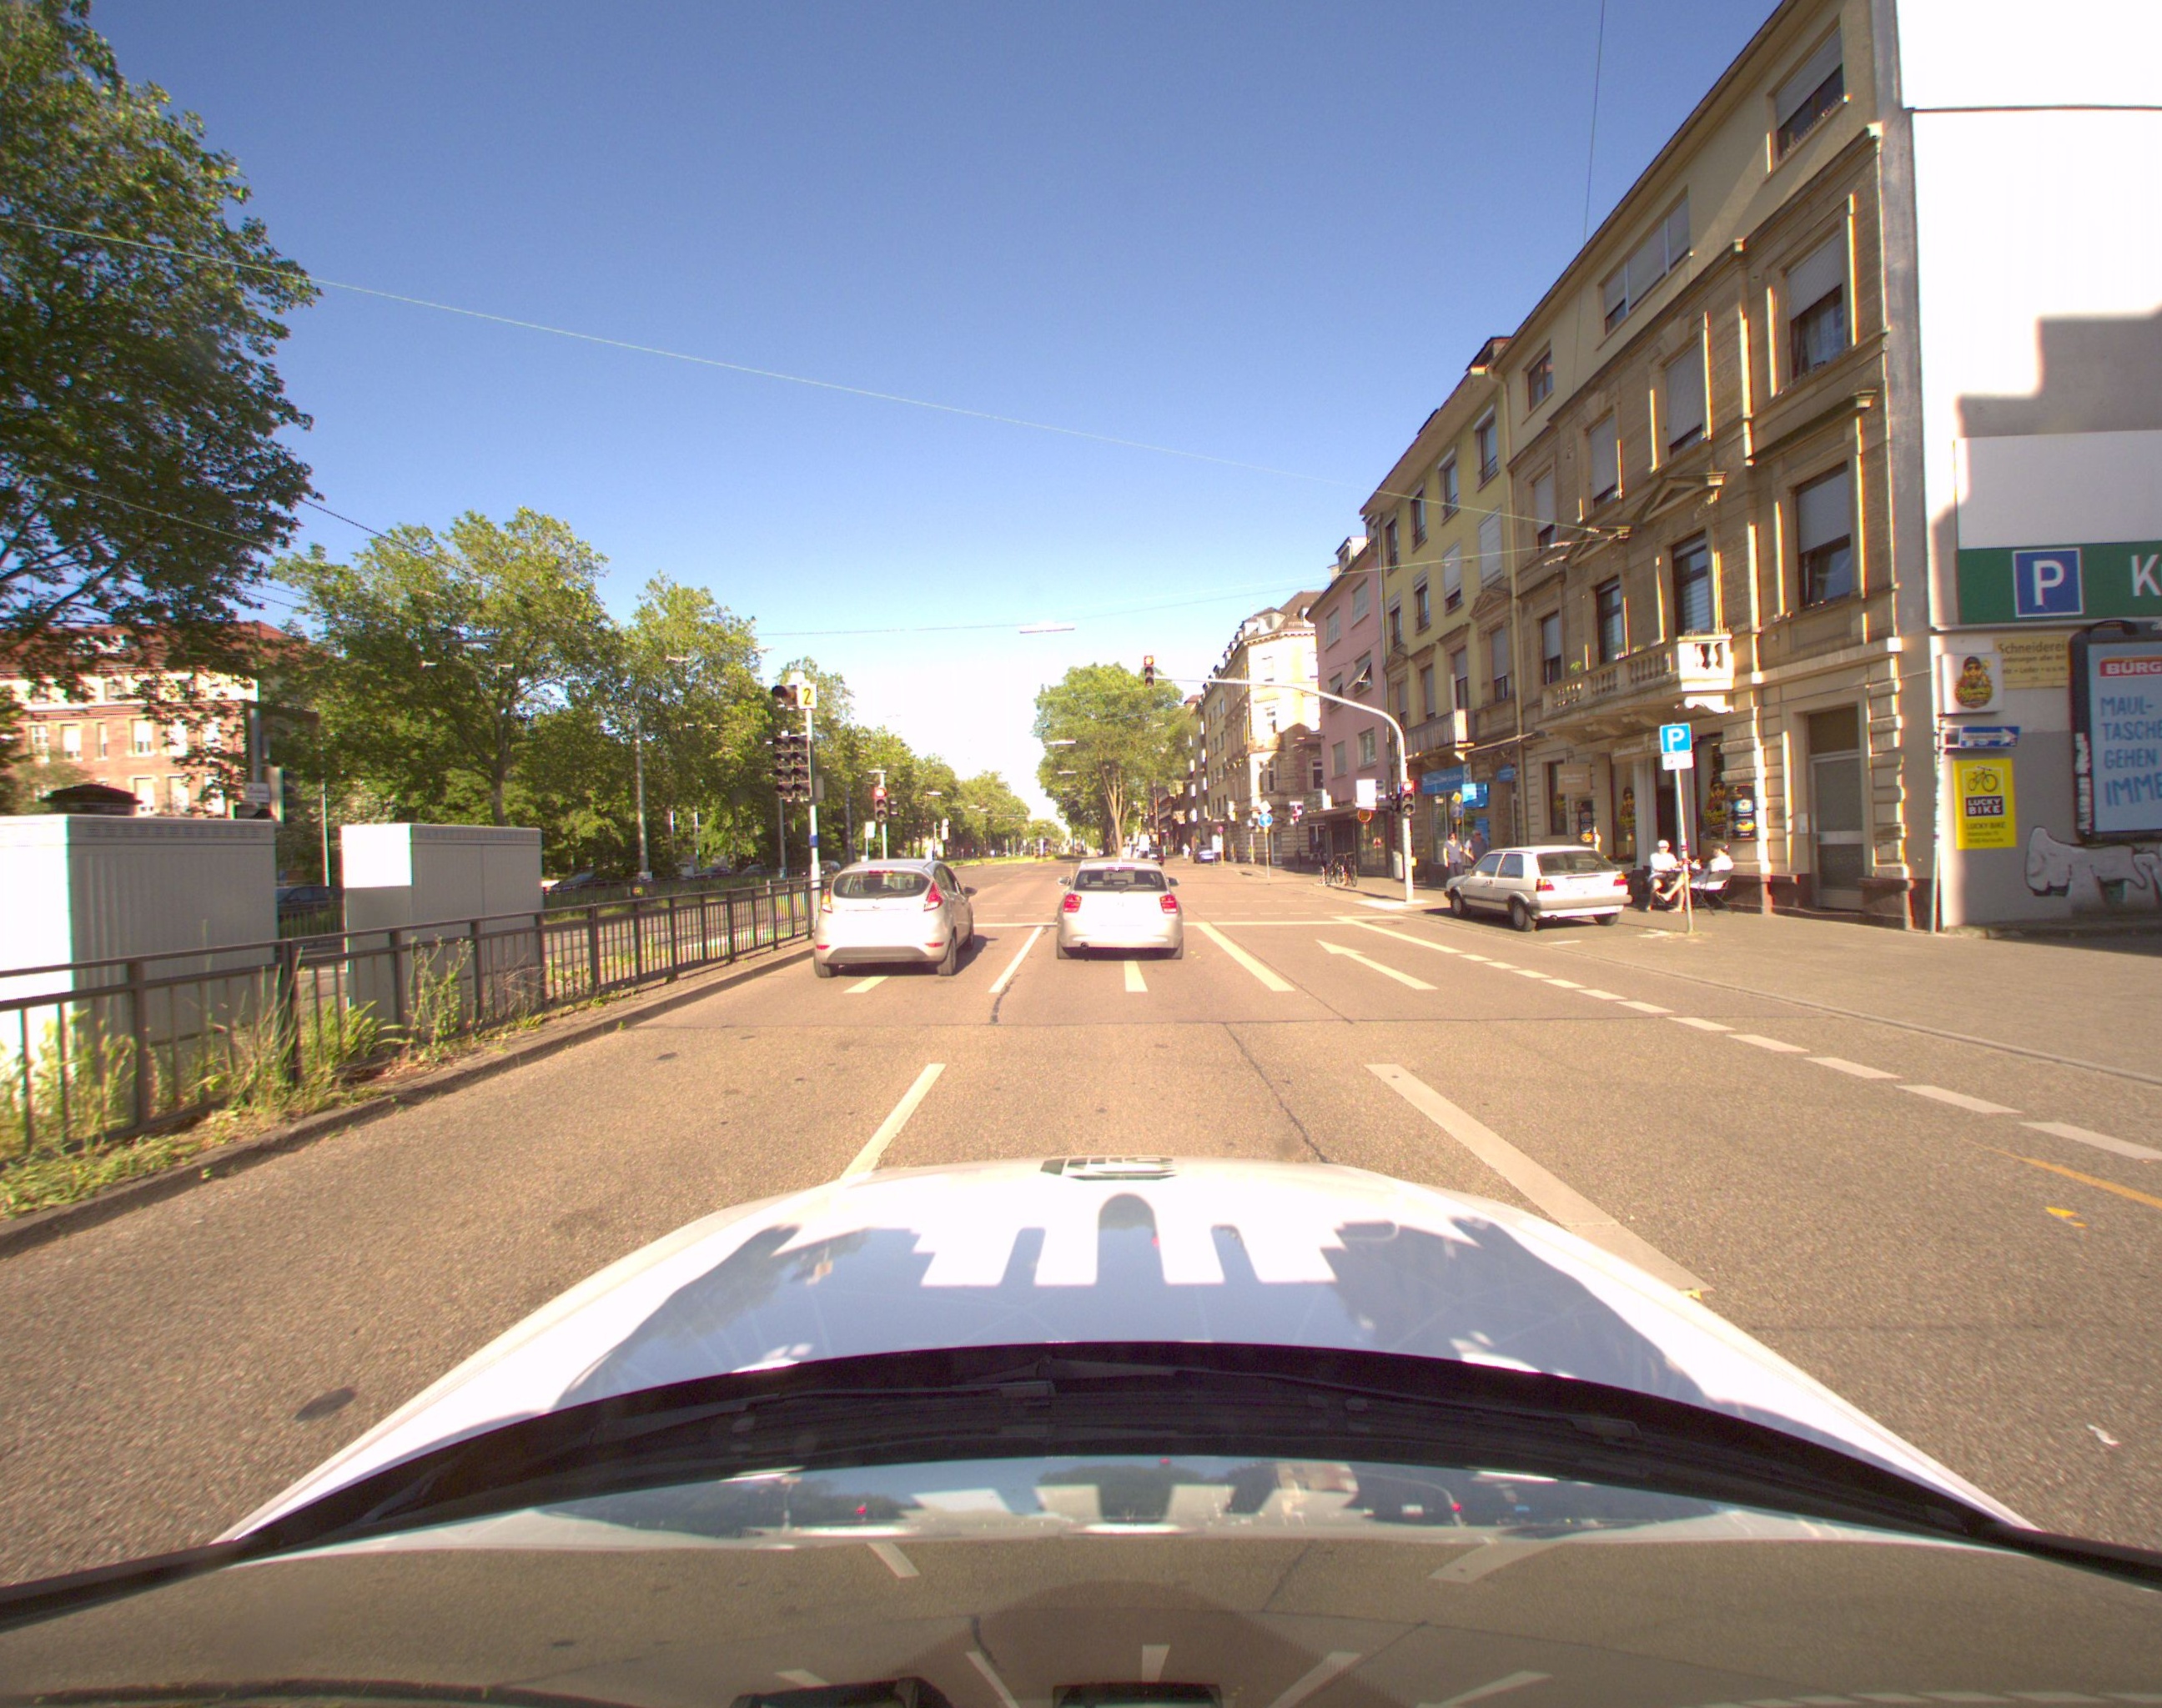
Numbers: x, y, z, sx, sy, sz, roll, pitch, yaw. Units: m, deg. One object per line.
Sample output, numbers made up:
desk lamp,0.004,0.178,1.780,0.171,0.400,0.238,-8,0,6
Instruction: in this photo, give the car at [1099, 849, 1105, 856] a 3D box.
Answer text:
car,6.783,-0.445,260.670,1.986,2.013,4.002,-2,1,2

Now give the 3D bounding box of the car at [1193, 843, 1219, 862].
car,10.558,-0.159,68.902,1.729,1.519,3.637,-1,0,1

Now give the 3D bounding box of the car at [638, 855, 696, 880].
car,-27.549,0.845,54.289,1.664,1.509,4.145,-2,0,0

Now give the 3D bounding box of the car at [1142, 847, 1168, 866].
car,5.719,0.183,63.309,1.730,1.433,3.678,-1,0,0

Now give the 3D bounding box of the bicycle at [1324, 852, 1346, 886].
bicycle,8.836,0.506,28.371,0.411,1.140,1.814,-1,1,8

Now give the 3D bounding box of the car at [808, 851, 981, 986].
car,-2.377,0.729,11.295,1.605,1.467,3.886,-2,1,-3

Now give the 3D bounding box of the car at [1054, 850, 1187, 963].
car,0.581,0.683,12.733,1.733,1.467,4.002,0,0,2

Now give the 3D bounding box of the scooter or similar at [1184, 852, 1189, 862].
scooter or similar,10.606,0.266,81.911,0.335,0.988,1.288,-2,1,10

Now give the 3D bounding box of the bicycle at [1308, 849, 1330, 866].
bicycle,13.670,0.210,46.808,0.646,0.903,1.346,-1,1,43

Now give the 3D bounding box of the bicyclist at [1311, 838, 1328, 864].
bicyclist,13.713,-0.171,46.836,0.541,1.502,0.967,-2,0,43

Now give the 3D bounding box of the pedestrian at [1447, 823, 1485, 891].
pedestrian,10.674,0.088,22.582,0.670,1.806,0.531,-5,0,1

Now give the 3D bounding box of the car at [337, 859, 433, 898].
car,-40.204,1.367,47.191,1.986,2.013,4.002,-2,0,2

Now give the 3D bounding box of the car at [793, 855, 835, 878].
car,-19.371,0.873,59.219,1.679,1.498,4.341,-2,1,-1

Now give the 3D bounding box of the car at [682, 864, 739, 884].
car,-27.291,1.456,60.194,1.929,1.349,4.849,-2,-1,0

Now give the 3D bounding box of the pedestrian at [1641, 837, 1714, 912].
pedestrian,10.890,0.367,14.883,0.795,1.281,0.608,-5,0,-1

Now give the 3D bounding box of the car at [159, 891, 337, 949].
car,-27.949,2.168,27.532,1.664,1.509,4.145,-2,1,0

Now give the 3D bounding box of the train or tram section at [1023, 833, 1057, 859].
train or tram section,-6.659,-1.326,136.022,3.954,3.865,17.497,-2,0,2

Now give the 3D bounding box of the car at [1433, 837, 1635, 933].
car,8.226,0.482,15.233,1.557,1.415,4.006,-5,0,2

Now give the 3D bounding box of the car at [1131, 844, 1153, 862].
car,5.567,-0.106,74.632,1.719,1.507,3.555,-1,0,0

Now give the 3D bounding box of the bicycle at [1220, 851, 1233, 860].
bicycle,12.375,0.130,69.256,0.752,0.770,1.945,-2,0,0

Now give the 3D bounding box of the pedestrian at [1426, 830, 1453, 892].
pedestrian,10.040,0.185,22.808,0.547,1.708,0.389,-2,0,4

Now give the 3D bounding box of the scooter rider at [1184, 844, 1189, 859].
scooter rider,10.592,-0.246,81.848,0.462,1.505,0.813,-2,-1,10

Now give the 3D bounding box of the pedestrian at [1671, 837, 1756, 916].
pedestrian,11.016,0.377,14.200,0.899,1.281,0.655,-4,0,-4

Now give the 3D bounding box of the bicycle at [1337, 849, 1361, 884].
bicycle,9.331,0.430,28.355,0.446,1.159,1.762,-2,1,8

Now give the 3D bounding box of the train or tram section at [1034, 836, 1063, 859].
train or tram section,-6.008,-1.262,153.587,3.990,3.865,17.497,-2,0,2
